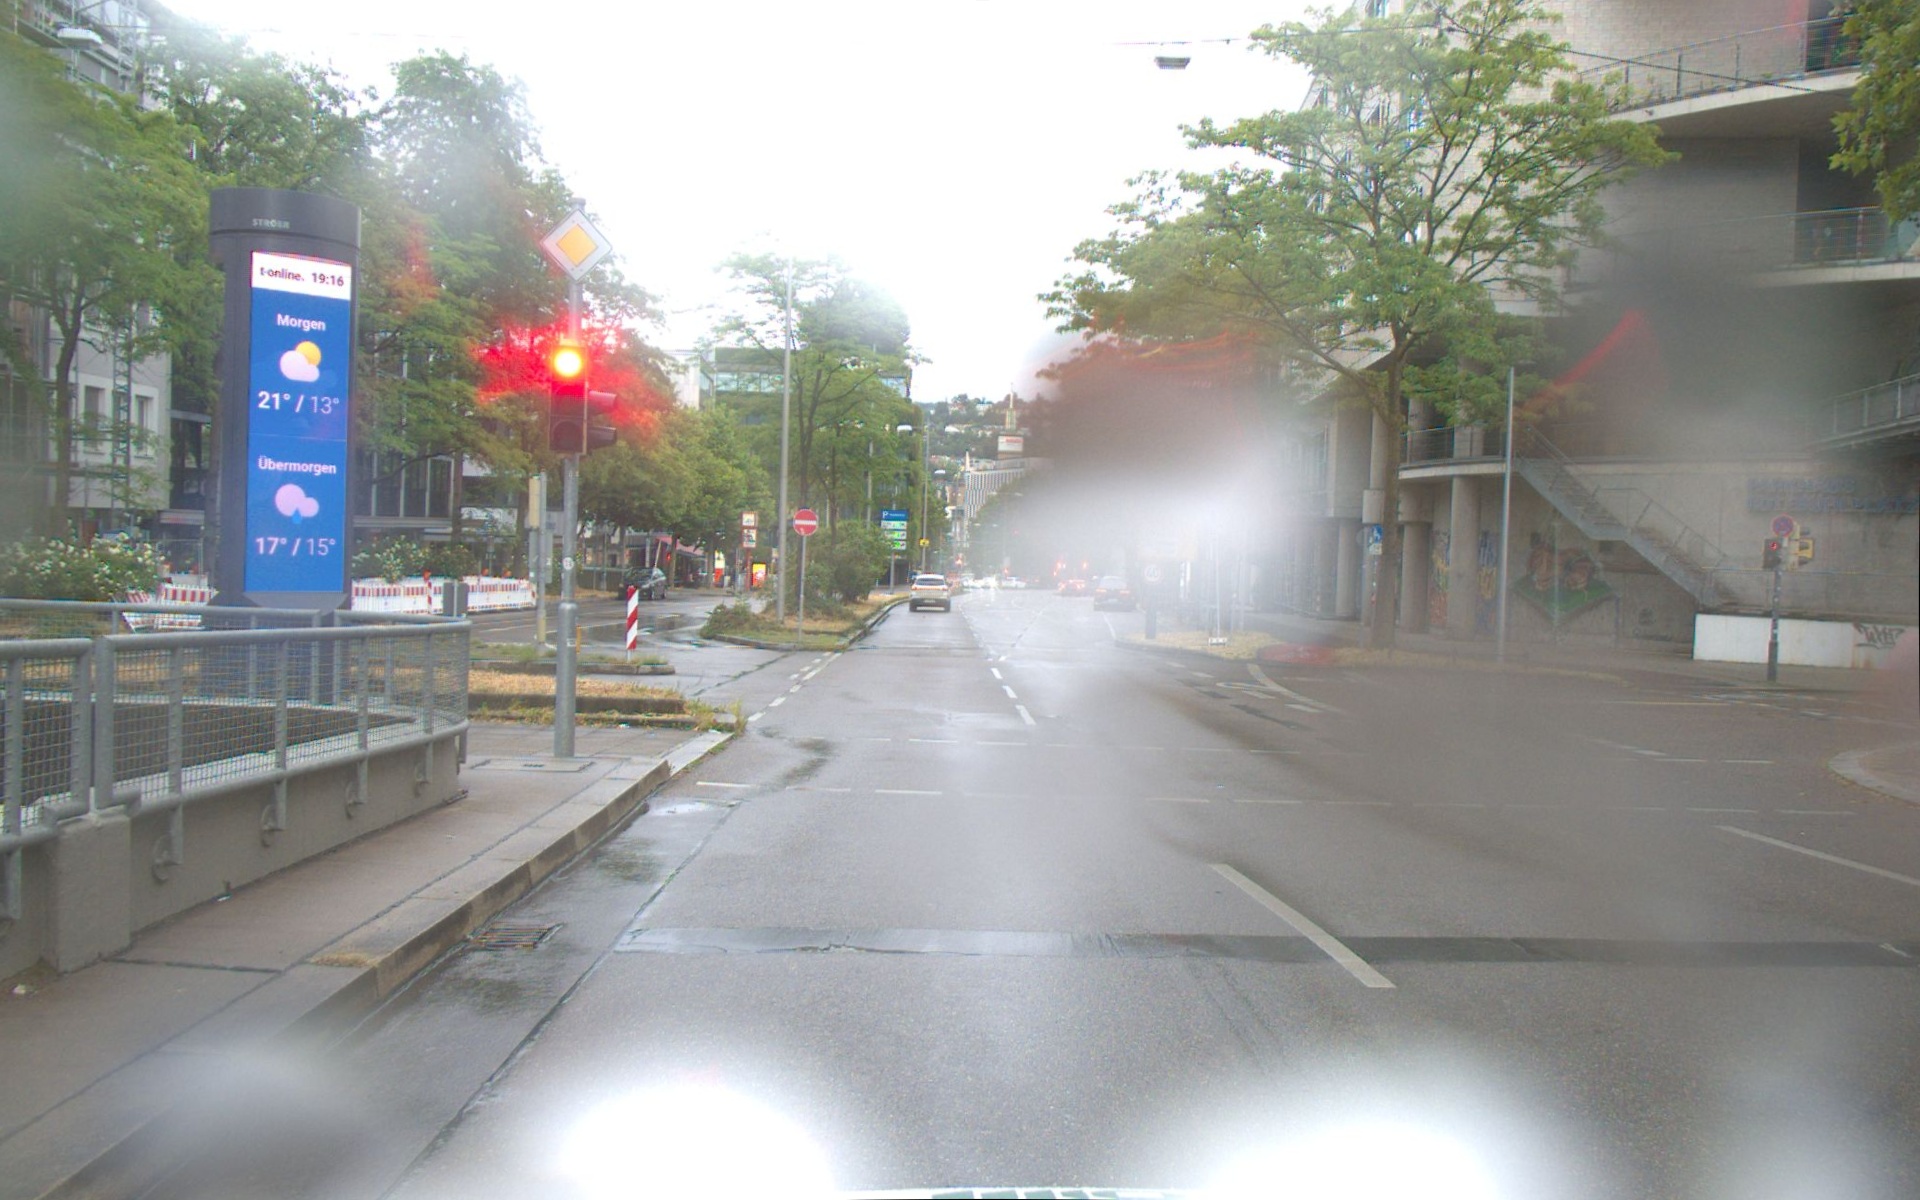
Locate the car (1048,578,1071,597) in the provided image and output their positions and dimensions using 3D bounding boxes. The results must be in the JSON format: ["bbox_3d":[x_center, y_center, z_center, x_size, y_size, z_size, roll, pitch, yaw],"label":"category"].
[{"bbox_3d":[10.047,-1.249,166.953,1.953,1.766,3.999,1,0,-1],"label":"car"}]

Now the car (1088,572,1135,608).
[{"bbox_3d":[7.676,-0.499,83.529,2.288,1.720,4.003,1,1,6],"label":"car"}]

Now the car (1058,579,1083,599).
[{"bbox_3d":[10.345,-1.000,155.381,1.953,1.754,3.999,1,0,-2],"label":"car"}]

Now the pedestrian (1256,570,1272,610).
[{"bbox_3d":[14.993,-0.507,81.624,0.759,1.954,0.703,1,-1,9],"label":"pedestrian"}]

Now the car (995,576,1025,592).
[{"bbox_3d":[6.048,-1.947,199.394,1.955,1.789,3.995,2,0,27],"label":"car"}]

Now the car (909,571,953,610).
[{"bbox_3d":[-1.326,-0.421,75.142,1.792,1.668,4.298,2,0,-3],"label":"car"}]
